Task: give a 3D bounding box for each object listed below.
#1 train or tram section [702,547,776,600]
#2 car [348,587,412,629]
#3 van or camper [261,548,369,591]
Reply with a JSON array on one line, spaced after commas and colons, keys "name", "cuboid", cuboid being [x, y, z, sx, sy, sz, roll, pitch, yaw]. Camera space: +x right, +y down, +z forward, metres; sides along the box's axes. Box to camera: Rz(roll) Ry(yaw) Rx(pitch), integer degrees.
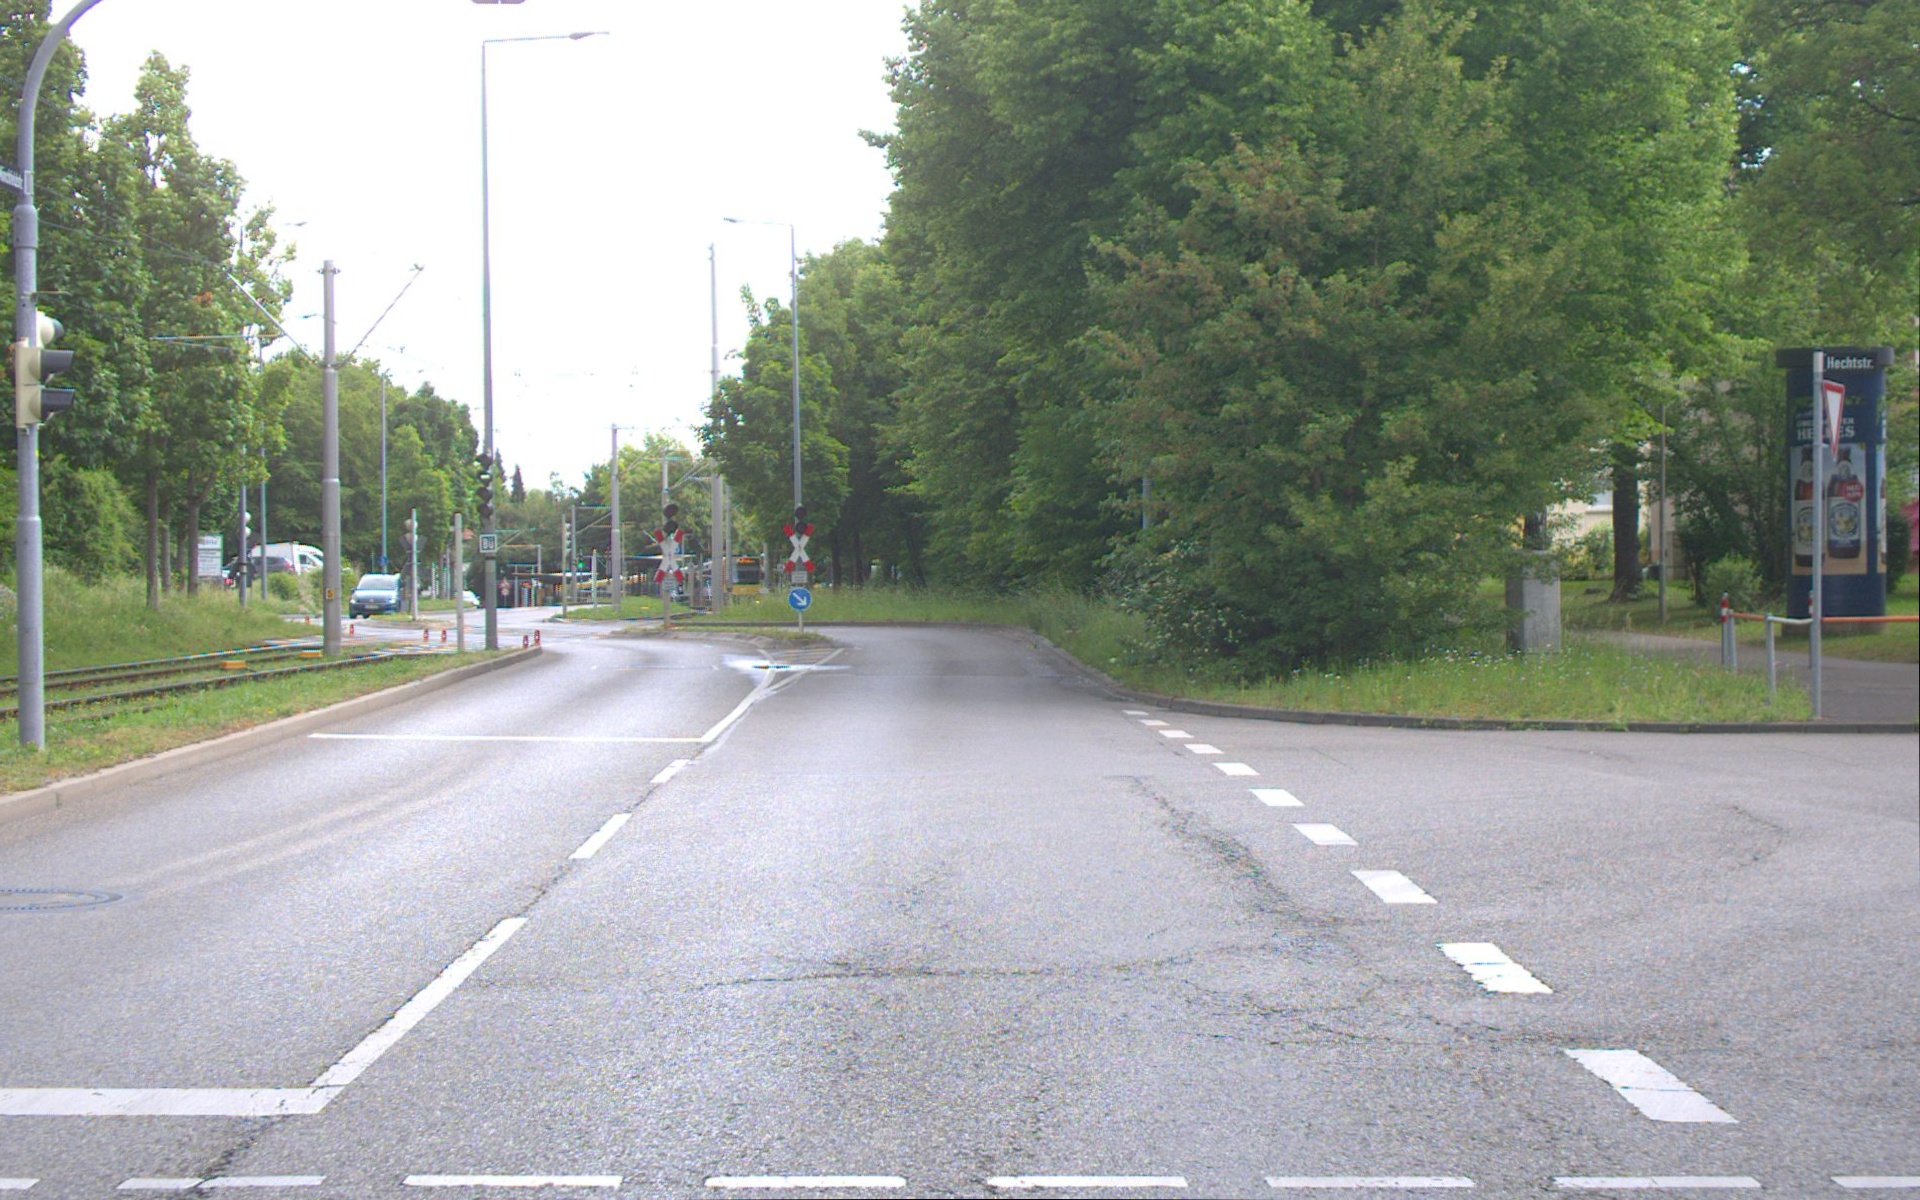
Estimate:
[{"name": "train or tram section", "cuboid": [-15.497, -1.714, 238.300, 3.007, 3.299, 34.716, 0, 0, -7]}, {"name": "car", "cuboid": [-21.463, 0.279, 127.242, 1.867, 1.516, 4.239, 0, 1, -3]}, {"name": "van or camper", "cuboid": [-33.363, -1.589, 177.905, 5.332, 2.195, 2.000, 0, 0, -4]}]
